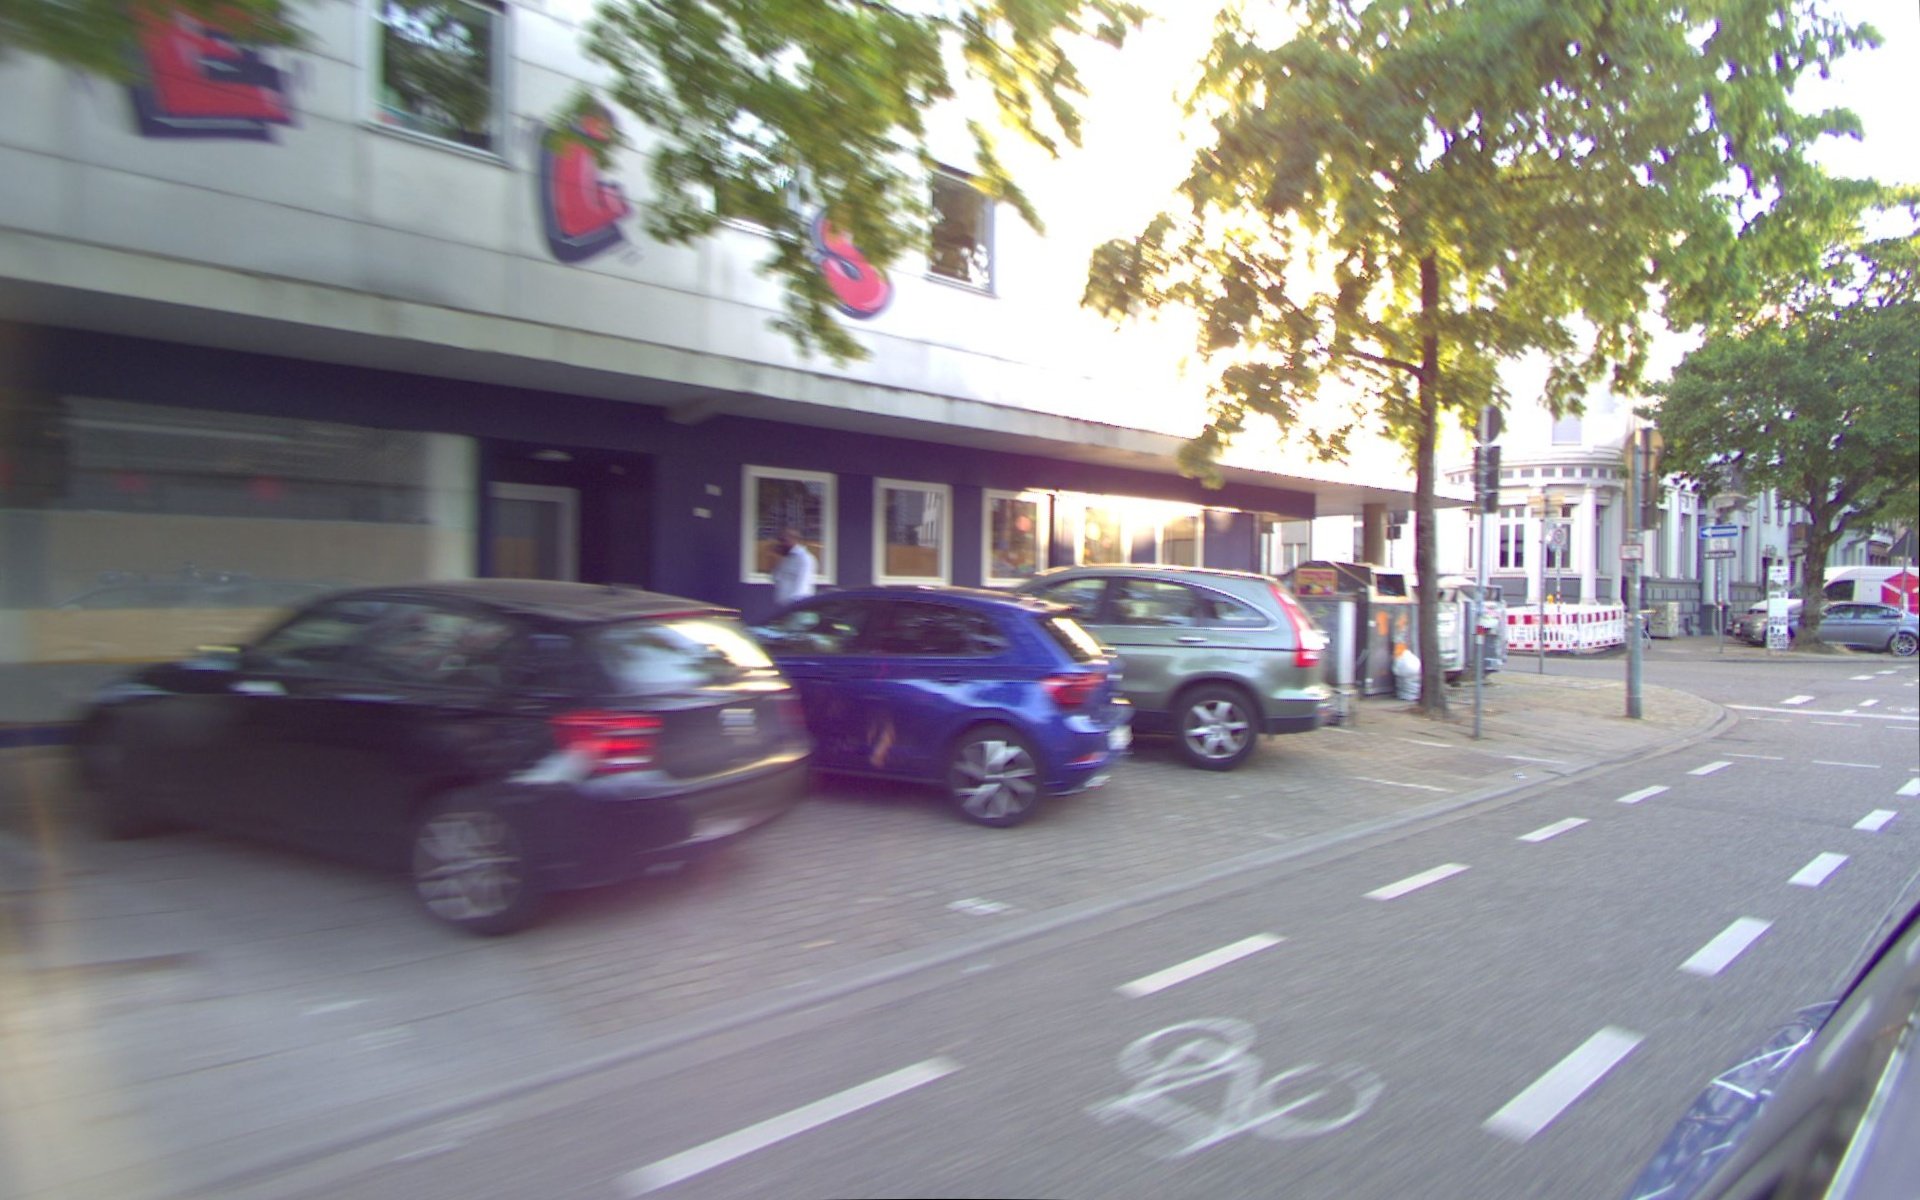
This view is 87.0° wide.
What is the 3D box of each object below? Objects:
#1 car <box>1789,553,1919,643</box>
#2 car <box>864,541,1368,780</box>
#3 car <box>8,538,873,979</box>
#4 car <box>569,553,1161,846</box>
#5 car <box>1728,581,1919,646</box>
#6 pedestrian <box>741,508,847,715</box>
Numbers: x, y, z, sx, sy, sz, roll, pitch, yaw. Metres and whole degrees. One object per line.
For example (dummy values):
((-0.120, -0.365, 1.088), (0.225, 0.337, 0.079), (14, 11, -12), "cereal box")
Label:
((29.782, -0.057, 31.607), (5.561, 2.728, 2.161), (1, 0, 16), "car")
((1.384, 0.404, 9.304), (4.110, 1.684, 1.834), (3, 3, 16), "car")
((-2.763, 0.513, 5.448), (4.121, 1.482, 1.957), (4, 3, 23), "car")
((-0.638, 0.514, 7.323), (3.846, 1.520, 1.802), (4, 3, 20), "car")
((24.399, 0.368, 28.041), (4.555, 1.532, 1.849), (4, 1, 22), "car")
((-1.693, 0.095, 10.301), (0.772, 2.009, 0.693), (0, 3, -40), "pedestrian")
